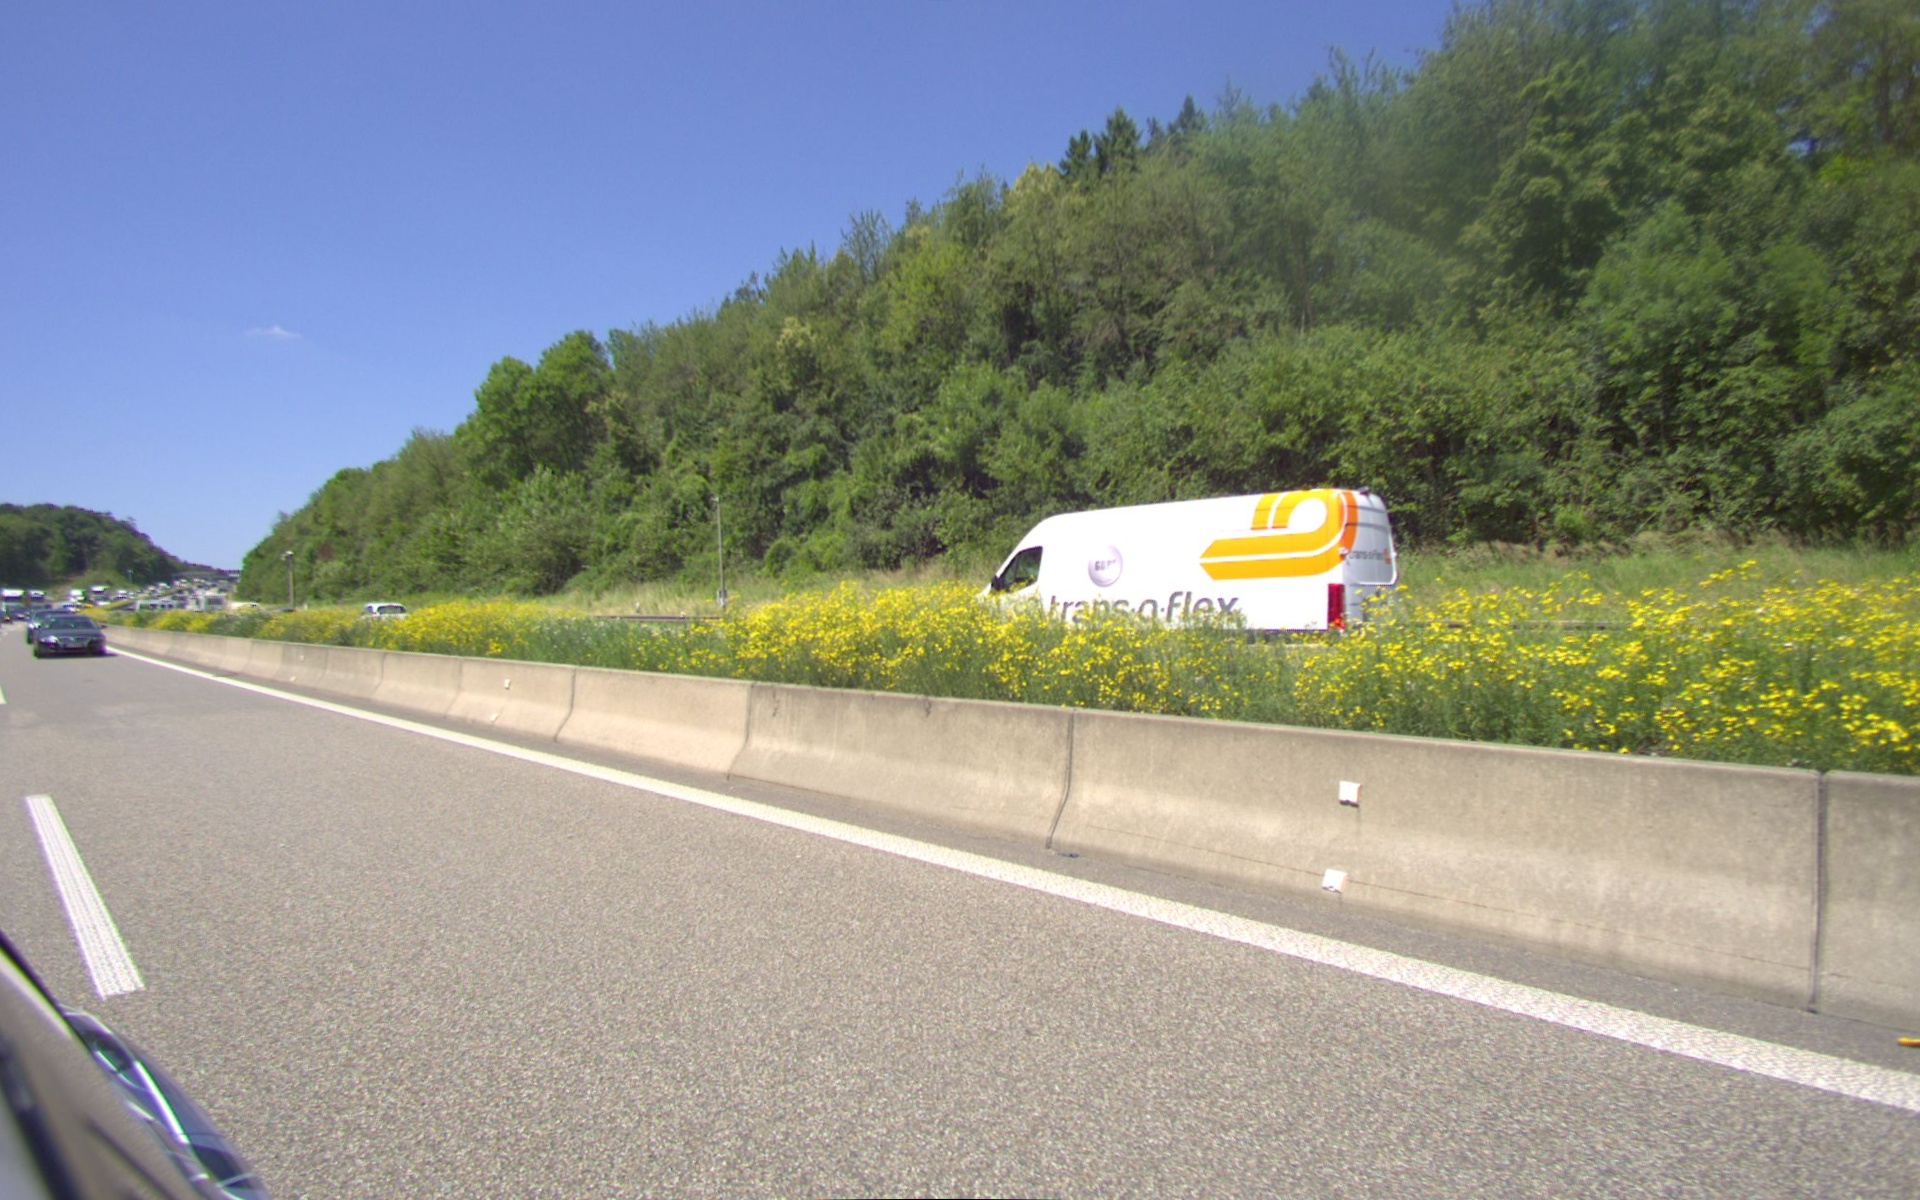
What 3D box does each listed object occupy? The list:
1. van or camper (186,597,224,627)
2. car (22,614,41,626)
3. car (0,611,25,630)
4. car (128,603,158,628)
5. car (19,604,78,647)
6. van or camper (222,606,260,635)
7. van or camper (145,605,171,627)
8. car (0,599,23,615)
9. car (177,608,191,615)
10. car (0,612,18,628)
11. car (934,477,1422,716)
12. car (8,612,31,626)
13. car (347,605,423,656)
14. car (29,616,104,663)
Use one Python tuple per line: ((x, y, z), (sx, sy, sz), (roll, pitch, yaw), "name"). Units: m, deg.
((-89.112, 1.352, 119.409), (2.510, 3.342, 9.009), (0, 1, -44), "van or camper")
((-144.441, 3.064, 157.476), (1.968, 1.751, 4.008), (0, 1, -39), "car")
((-97.944, 2.100, 104.401), (1.969, 1.751, 4.006), (0, 1, -40), "car")
((-94.902, 1.830, 117.556), (2.175, 2.762, 5.750), (0, -1, -45), "car")
((-45.517, 1.221, 50.505), (1.971, 2.029, 4.002), (0, 1, -45), "car")
((-52.524, 1.478, 73.929), (1.672, 2.028, 4.216), (0, 0, -44), "van or camper")
((-109.544, 2.168, 138.170), (2.231, 2.921, 6.562), (0, -1, -44), "van or camper")
((-156.622, 1.145, 166.781), (2.656, 2.500, 6.599), (0, 0, -37), "car")
((-157.309, 2.328, 205.144), (1.767, 1.467, 4.004), (0, 1, -43), "car")
((-112.108, 2.355, 118.971), (1.969, 1.751, 4.005), (0, 1, -42), "car")
((2.926, 0.003, 15.709), (7.465, 2.918, 2.045), (-1, -1, 45), "car")
((-126.157, 2.493, 135.821), (1.968, 1.751, 4.008), (0, 1, -38), "car")
((-25.131, 1.283, 44.187), (4.001, 2.029, 1.857), (1, 1, 44), "car")
((-30.771, 1.319, 34.800), (1.696, 1.490, 4.002), (0, 0, -45), "car")
